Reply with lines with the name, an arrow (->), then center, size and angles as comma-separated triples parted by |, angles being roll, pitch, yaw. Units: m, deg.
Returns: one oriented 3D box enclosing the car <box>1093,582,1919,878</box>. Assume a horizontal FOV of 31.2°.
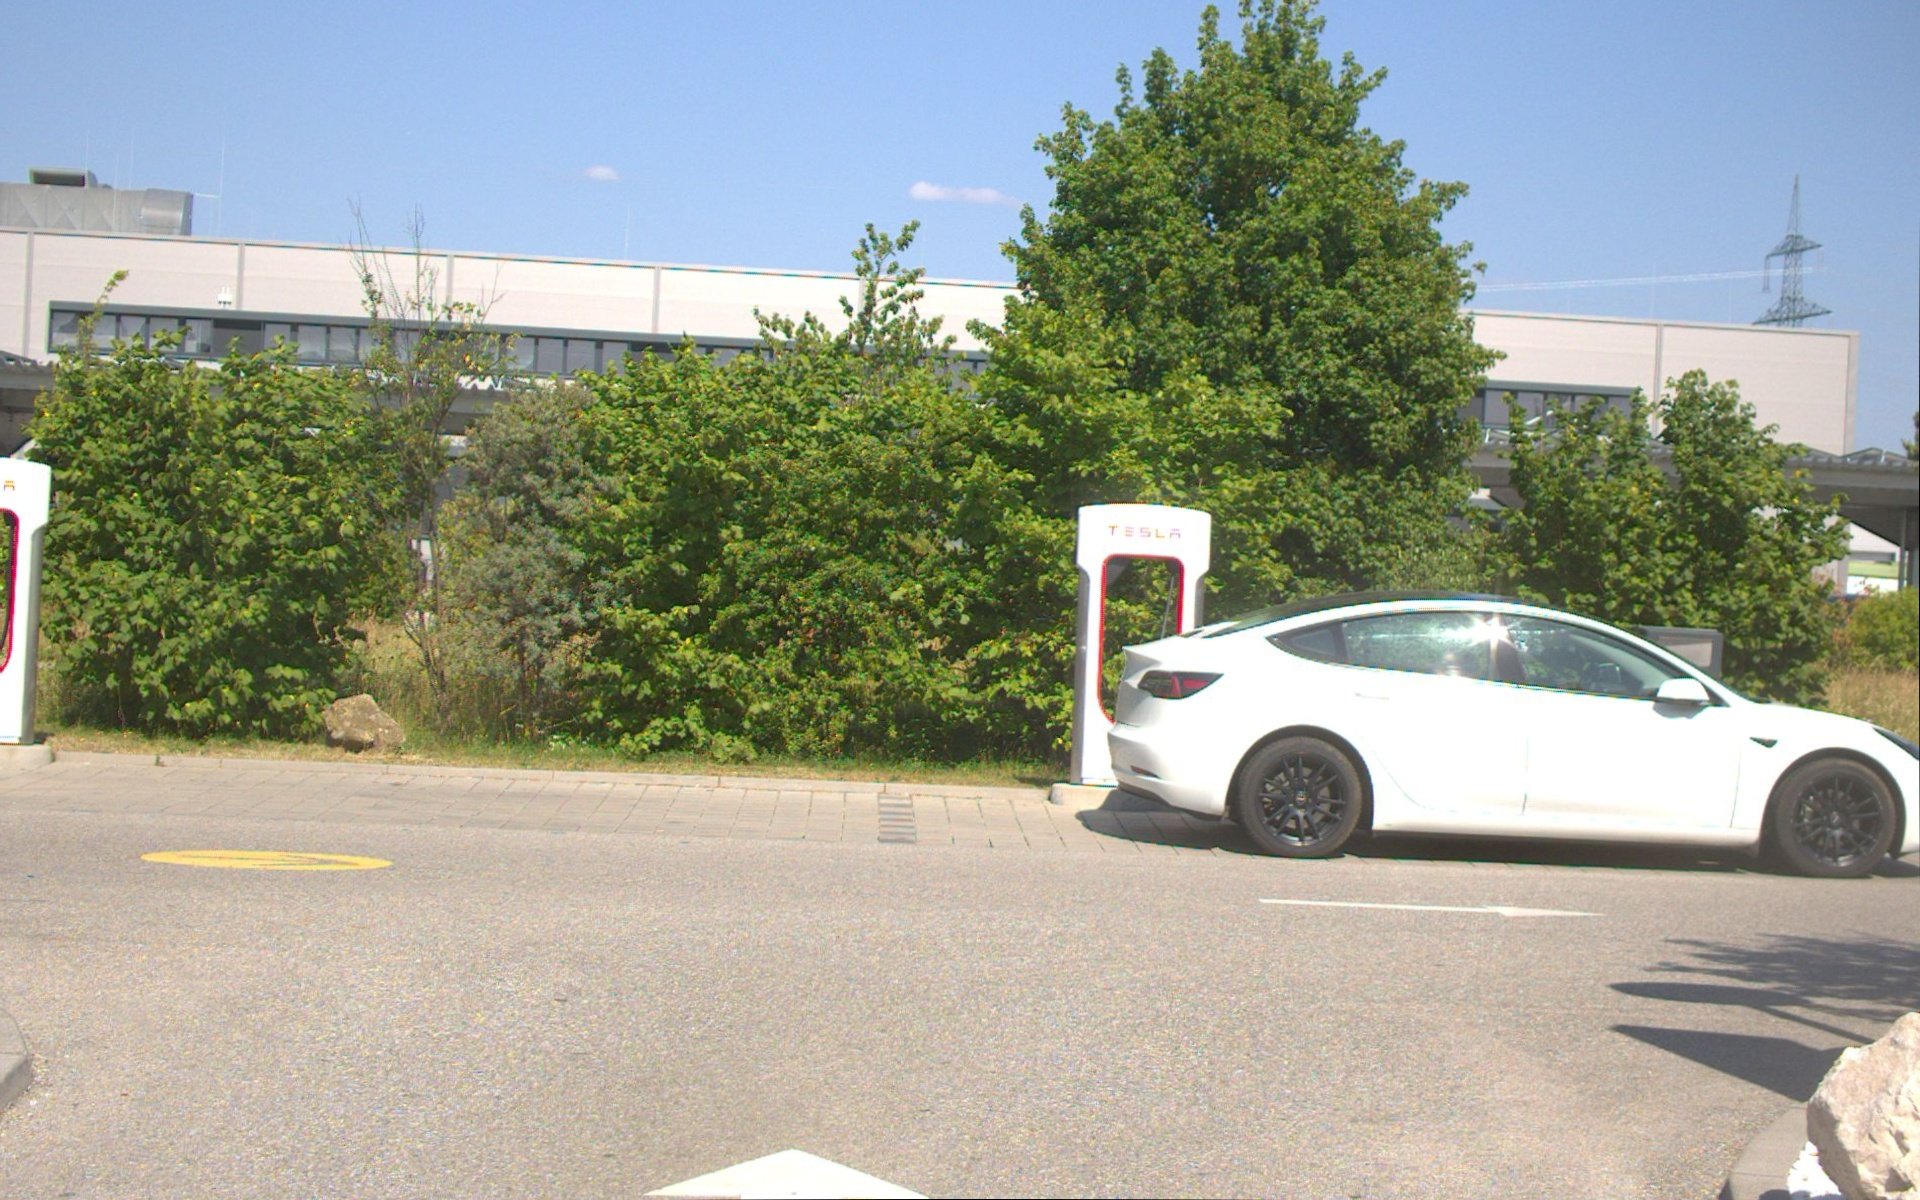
car -> 3.030, 0.687, 19.052 | 4.434, 1.373, 1.822 | 2, 1, -1
